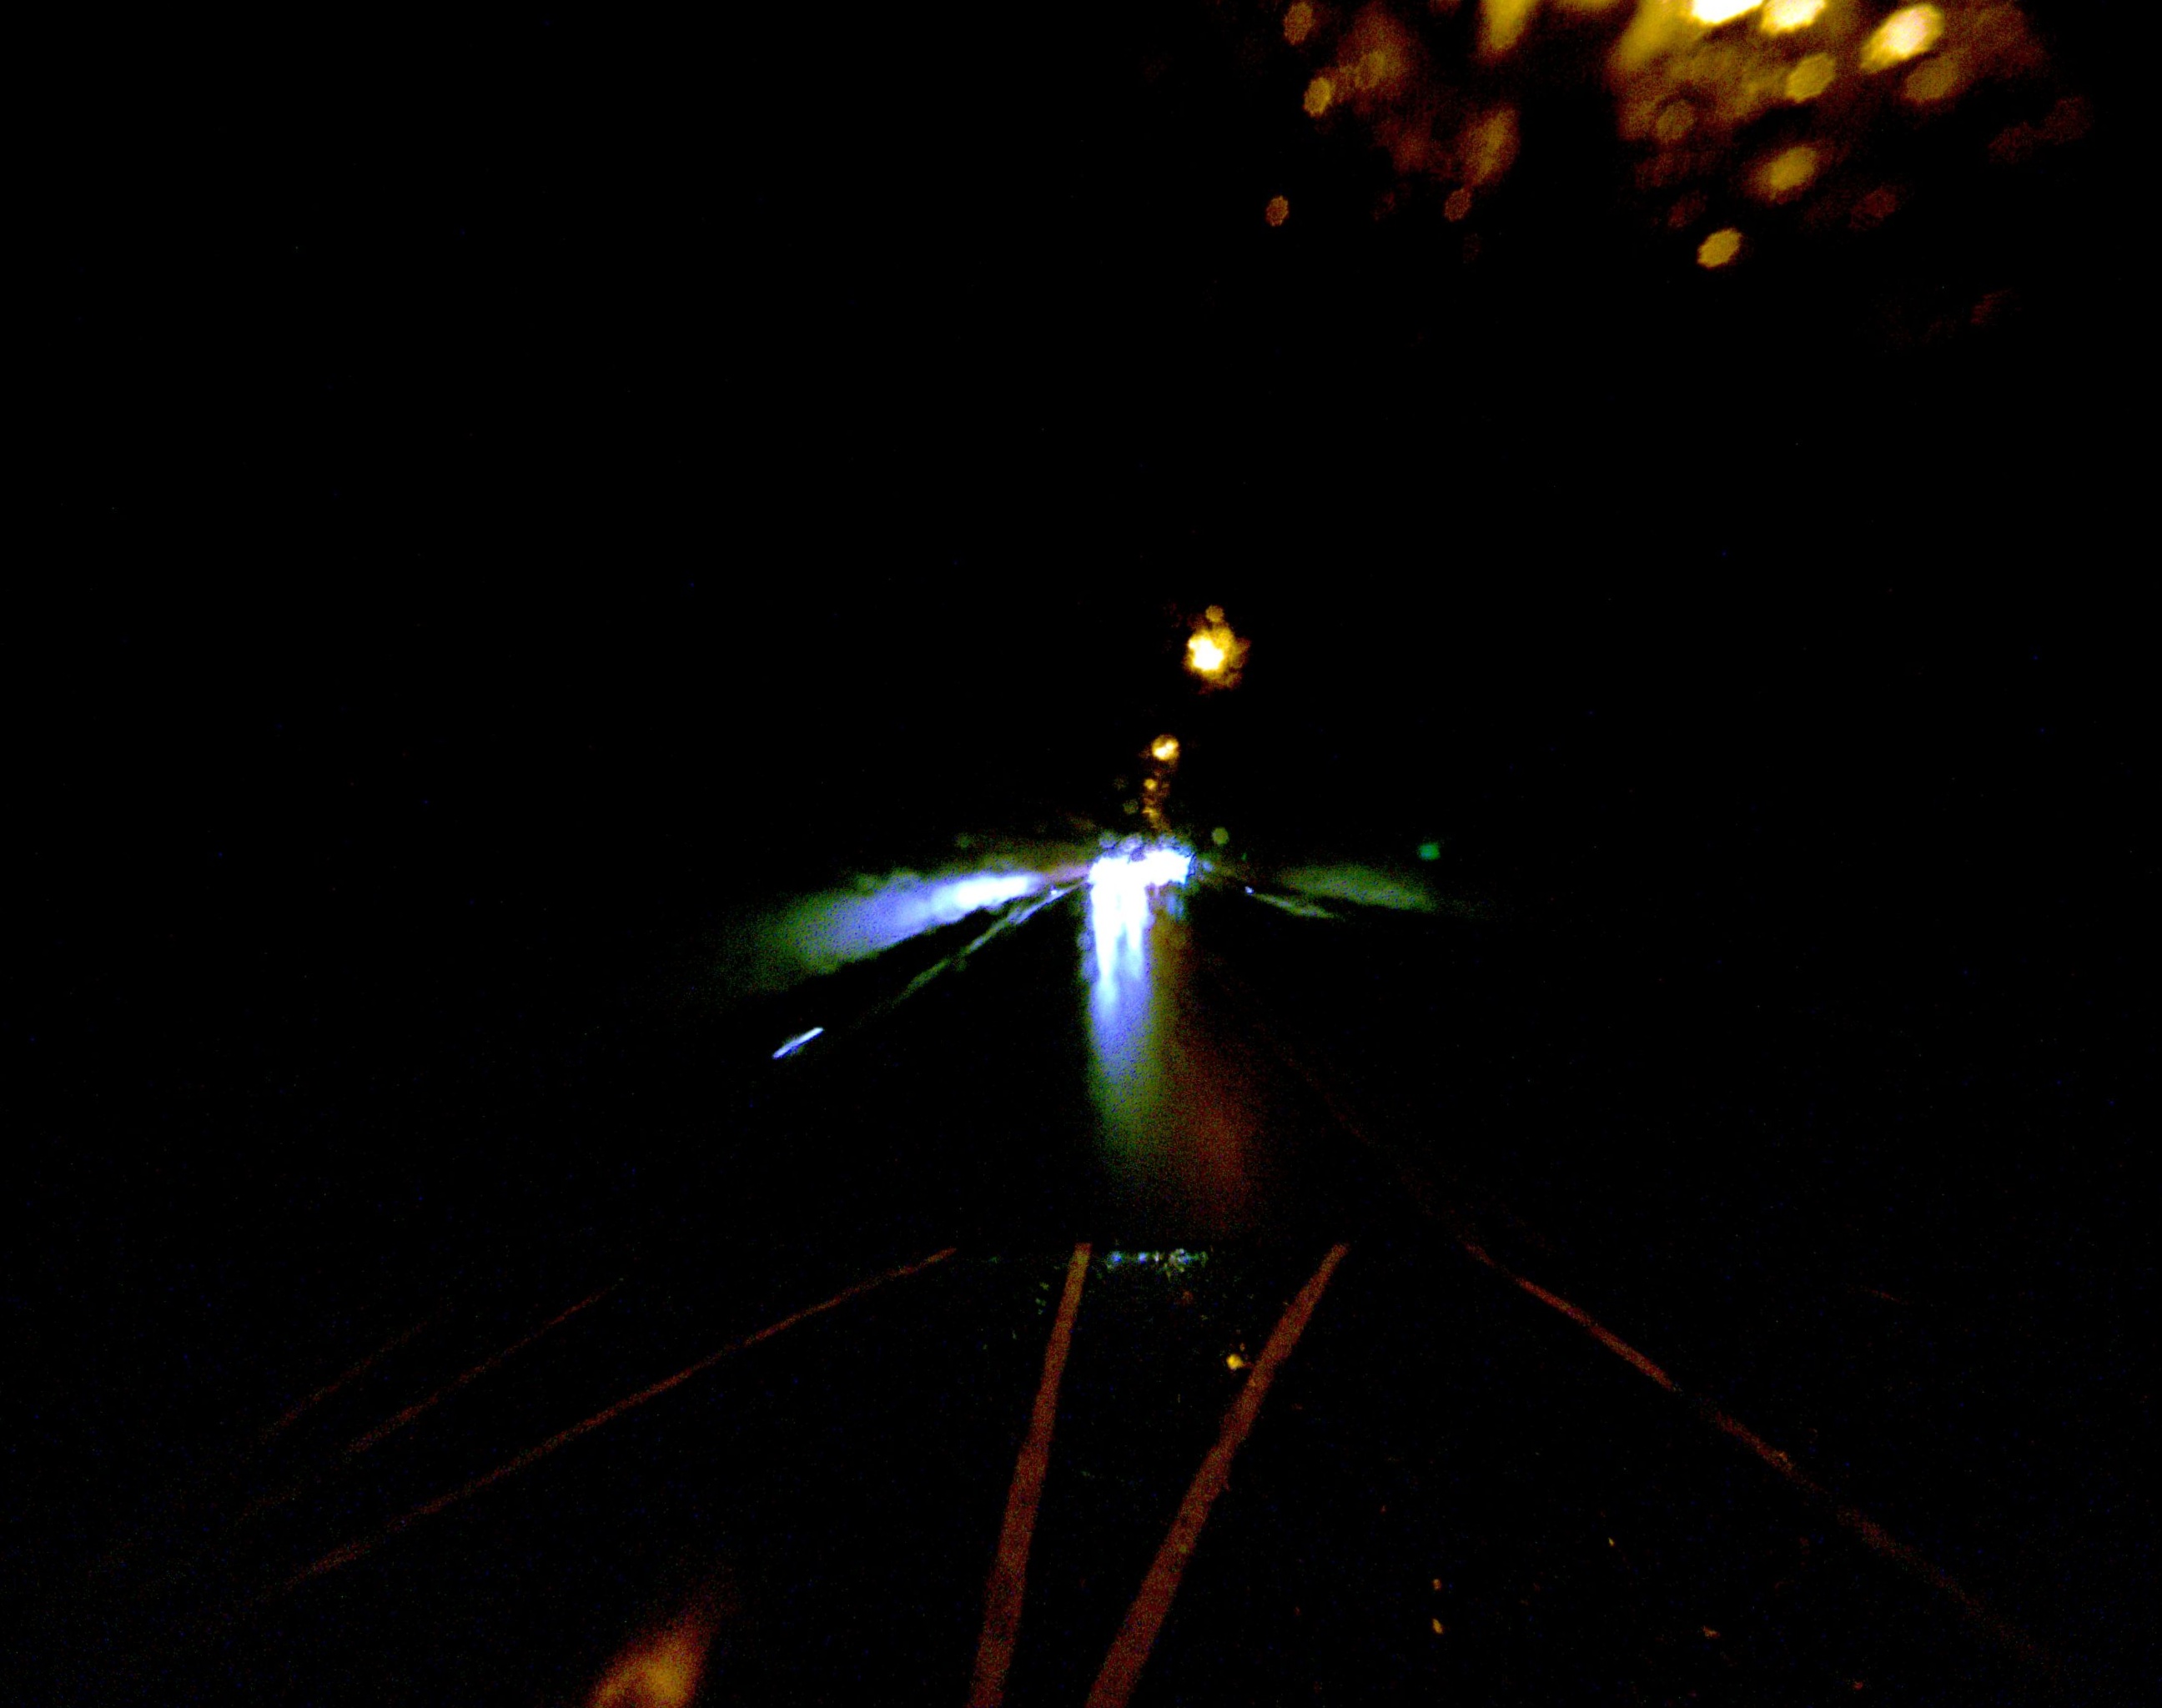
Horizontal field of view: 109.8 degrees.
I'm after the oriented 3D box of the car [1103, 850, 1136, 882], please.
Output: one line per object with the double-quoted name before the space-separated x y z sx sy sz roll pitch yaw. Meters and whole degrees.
"car" 2.231 0.648 43.659 1.729 1.595 4.001 -3 1 4
